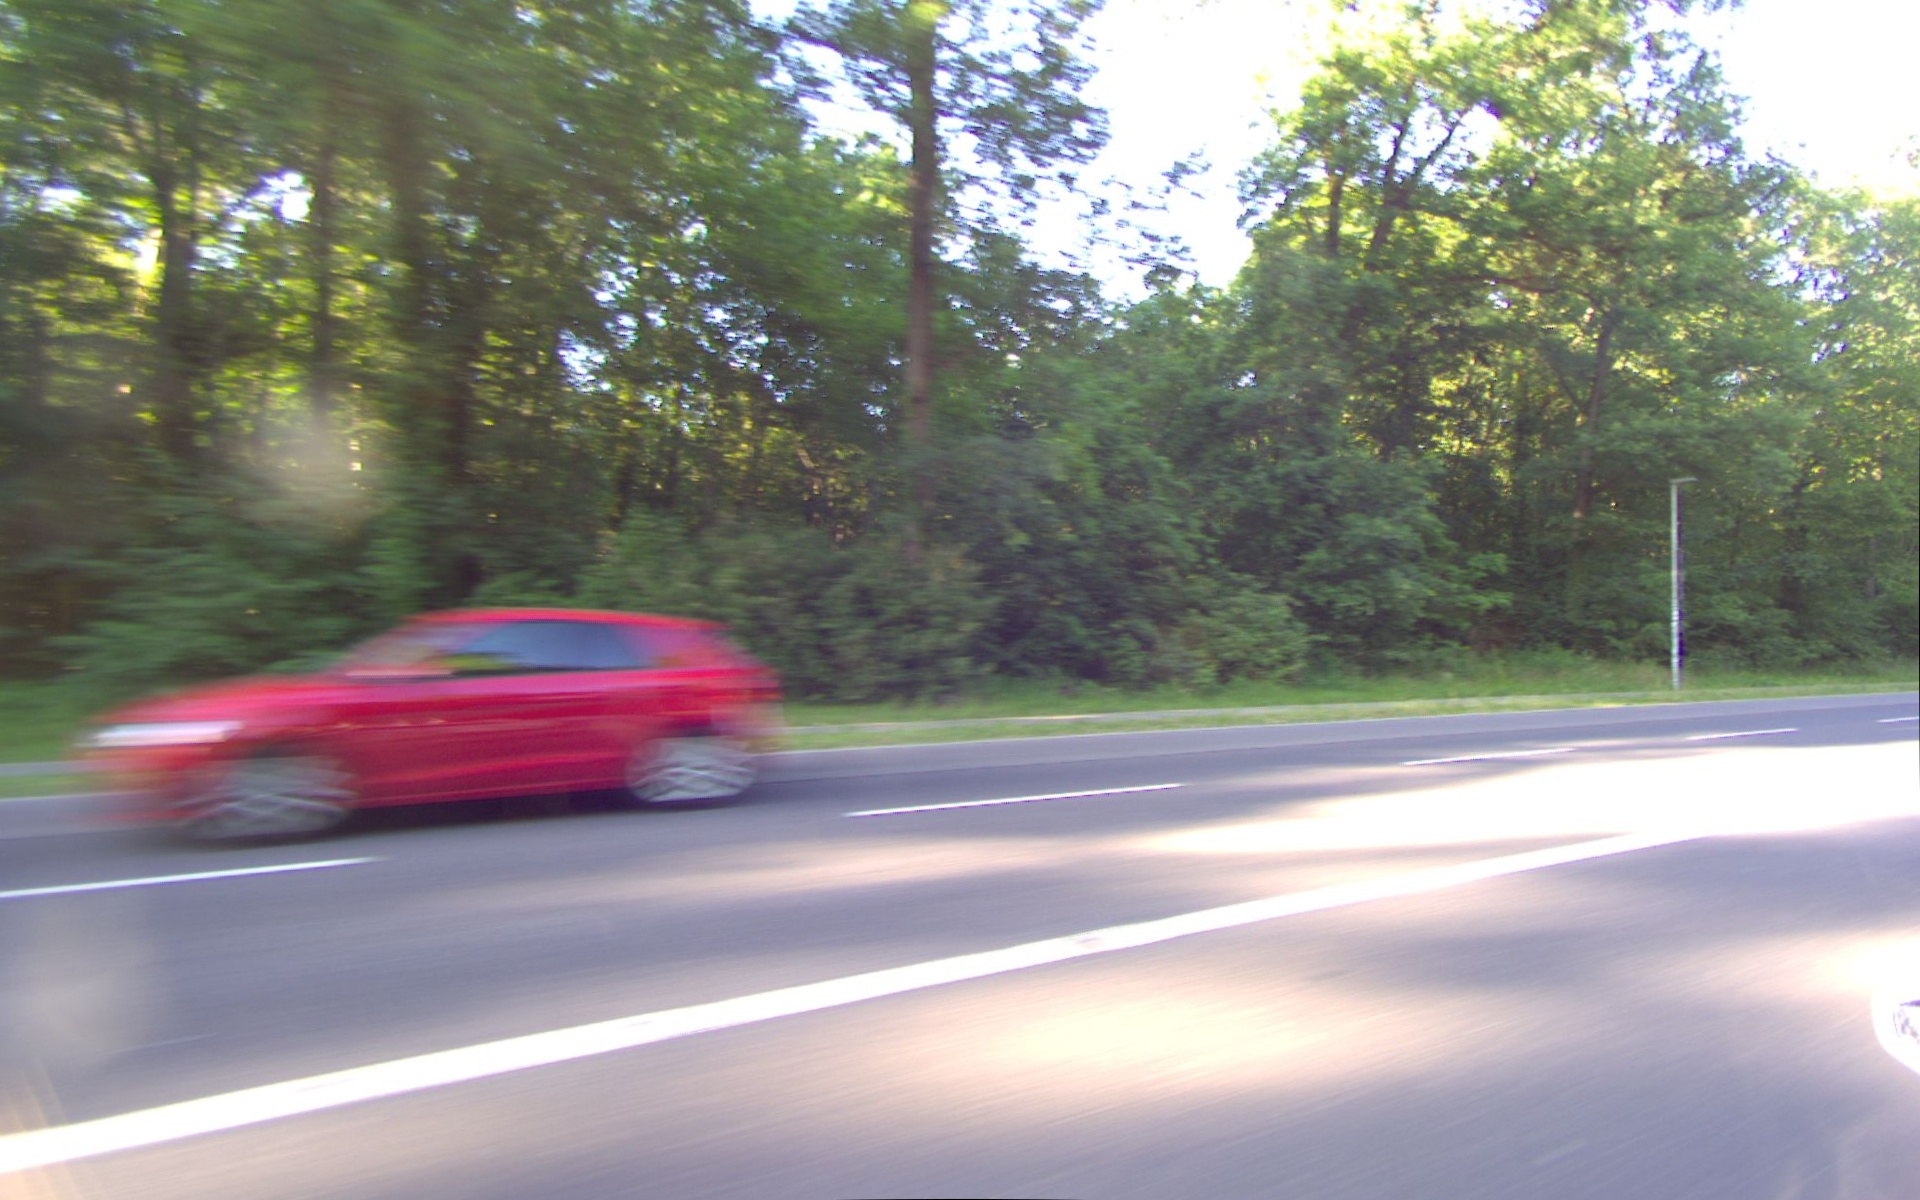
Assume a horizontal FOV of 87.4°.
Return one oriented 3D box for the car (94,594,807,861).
[{"bbox_3d":[-3.325,0.733,7.200,4.082,1.442,1.701,1,-1,-31],"label":"car"}]
